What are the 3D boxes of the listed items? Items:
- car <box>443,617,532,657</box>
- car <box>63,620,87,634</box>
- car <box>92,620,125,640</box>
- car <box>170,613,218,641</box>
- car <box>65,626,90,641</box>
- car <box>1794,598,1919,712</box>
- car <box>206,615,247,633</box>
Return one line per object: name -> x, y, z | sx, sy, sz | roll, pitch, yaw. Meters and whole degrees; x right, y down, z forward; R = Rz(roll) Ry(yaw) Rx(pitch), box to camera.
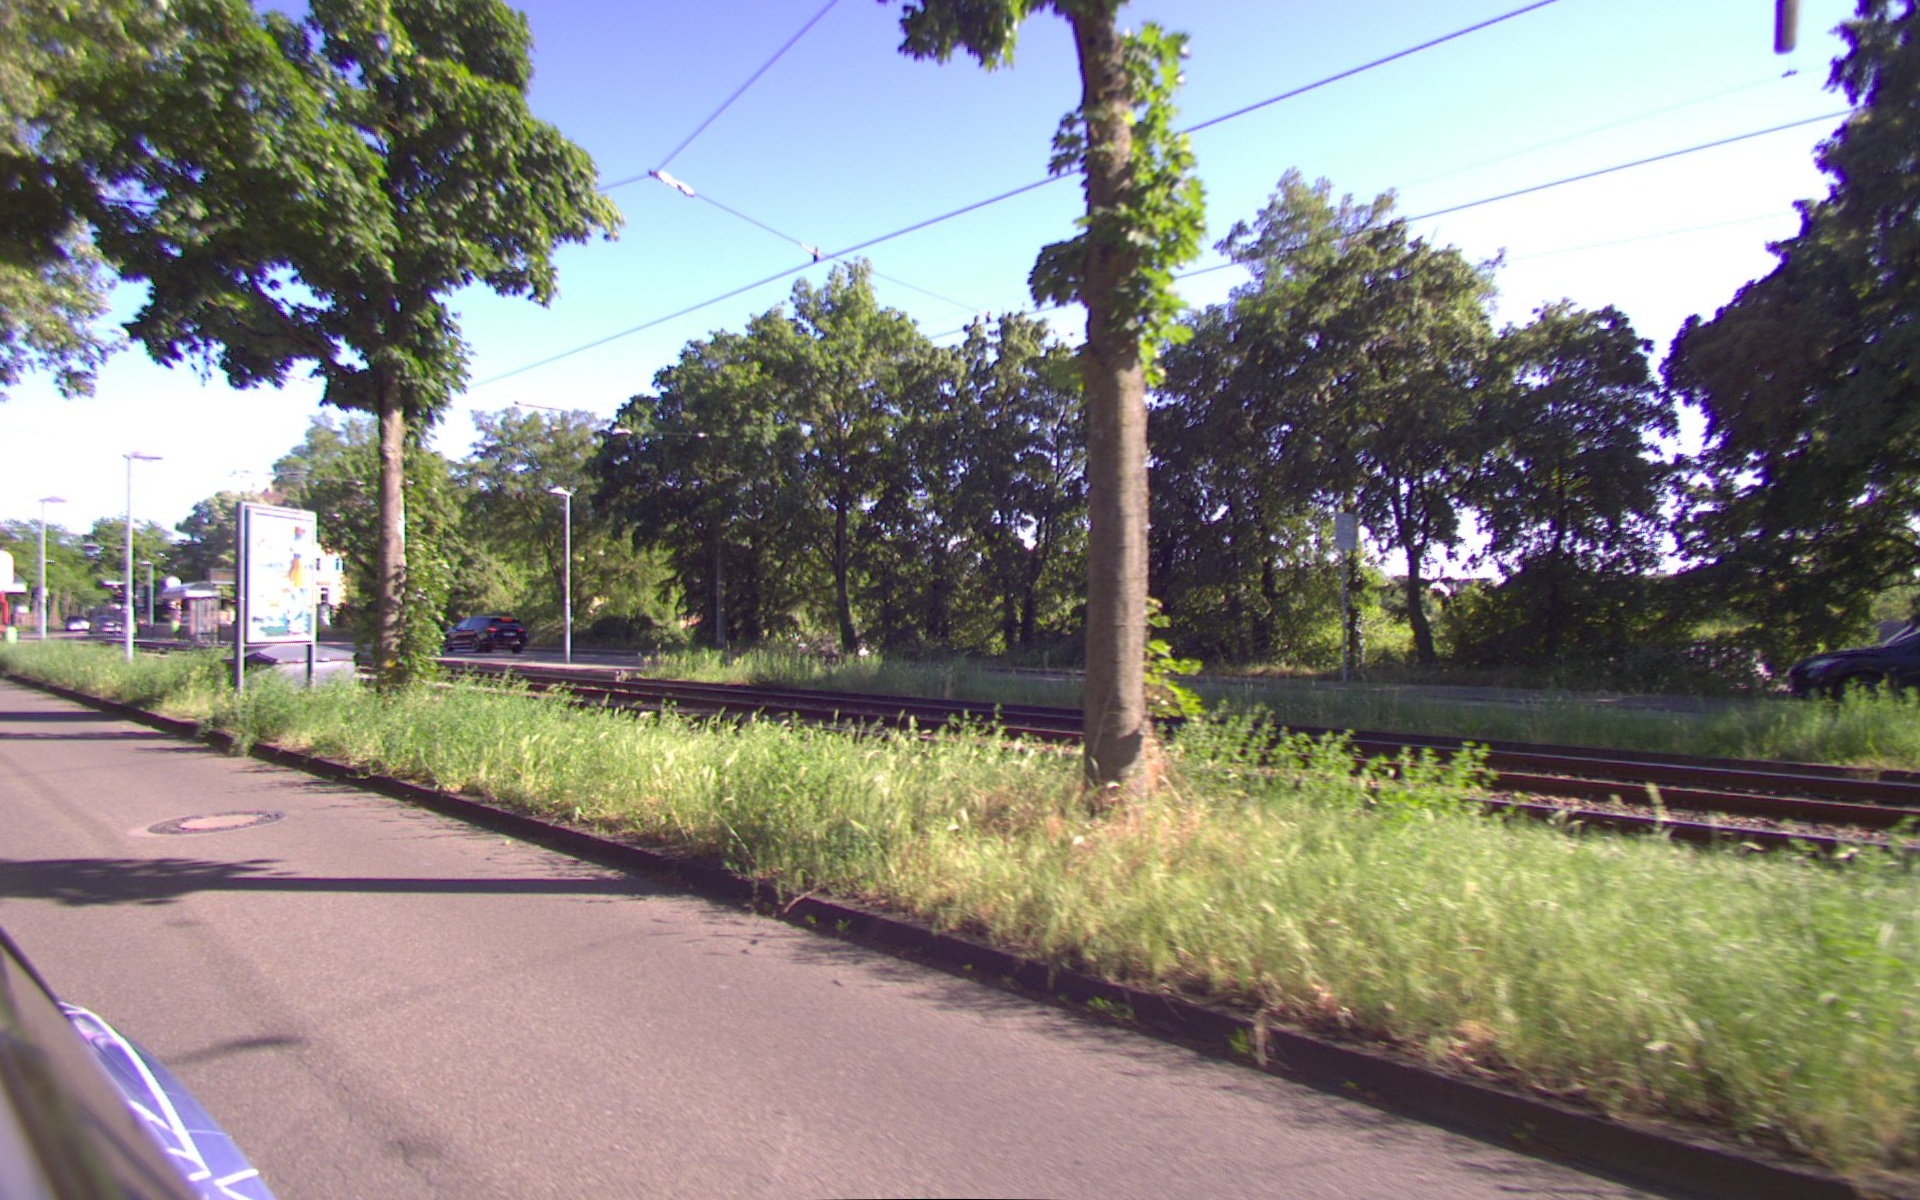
car -> -19.263, 1.493, 41.167 | 4.592, 1.506, 1.619 | 0, -2, 43
car -> -102.956, 3.152, 117.737 | 1.827, 1.497, 3.549 | -2, 2, -44
car -> -72.223, 2.532, 85.821 | 3.672, 1.569, 1.592 | 0, 1, 42
car -> -46.082, 1.616, 60.849 | 3.672, 1.569, 1.592 | 0, 1, 42
car -> -91.427, 3.418, 104.875 | 1.825, 1.389, 3.446 | -2, 1, -39
car -> 14.675, 0.776, 14.359 | 4.282, 1.575, 1.748 | 0, 1, 43
car -> -48.898, 1.590, 67.434 | 3.675, 1.126, 1.473 | 0, 2, 42
